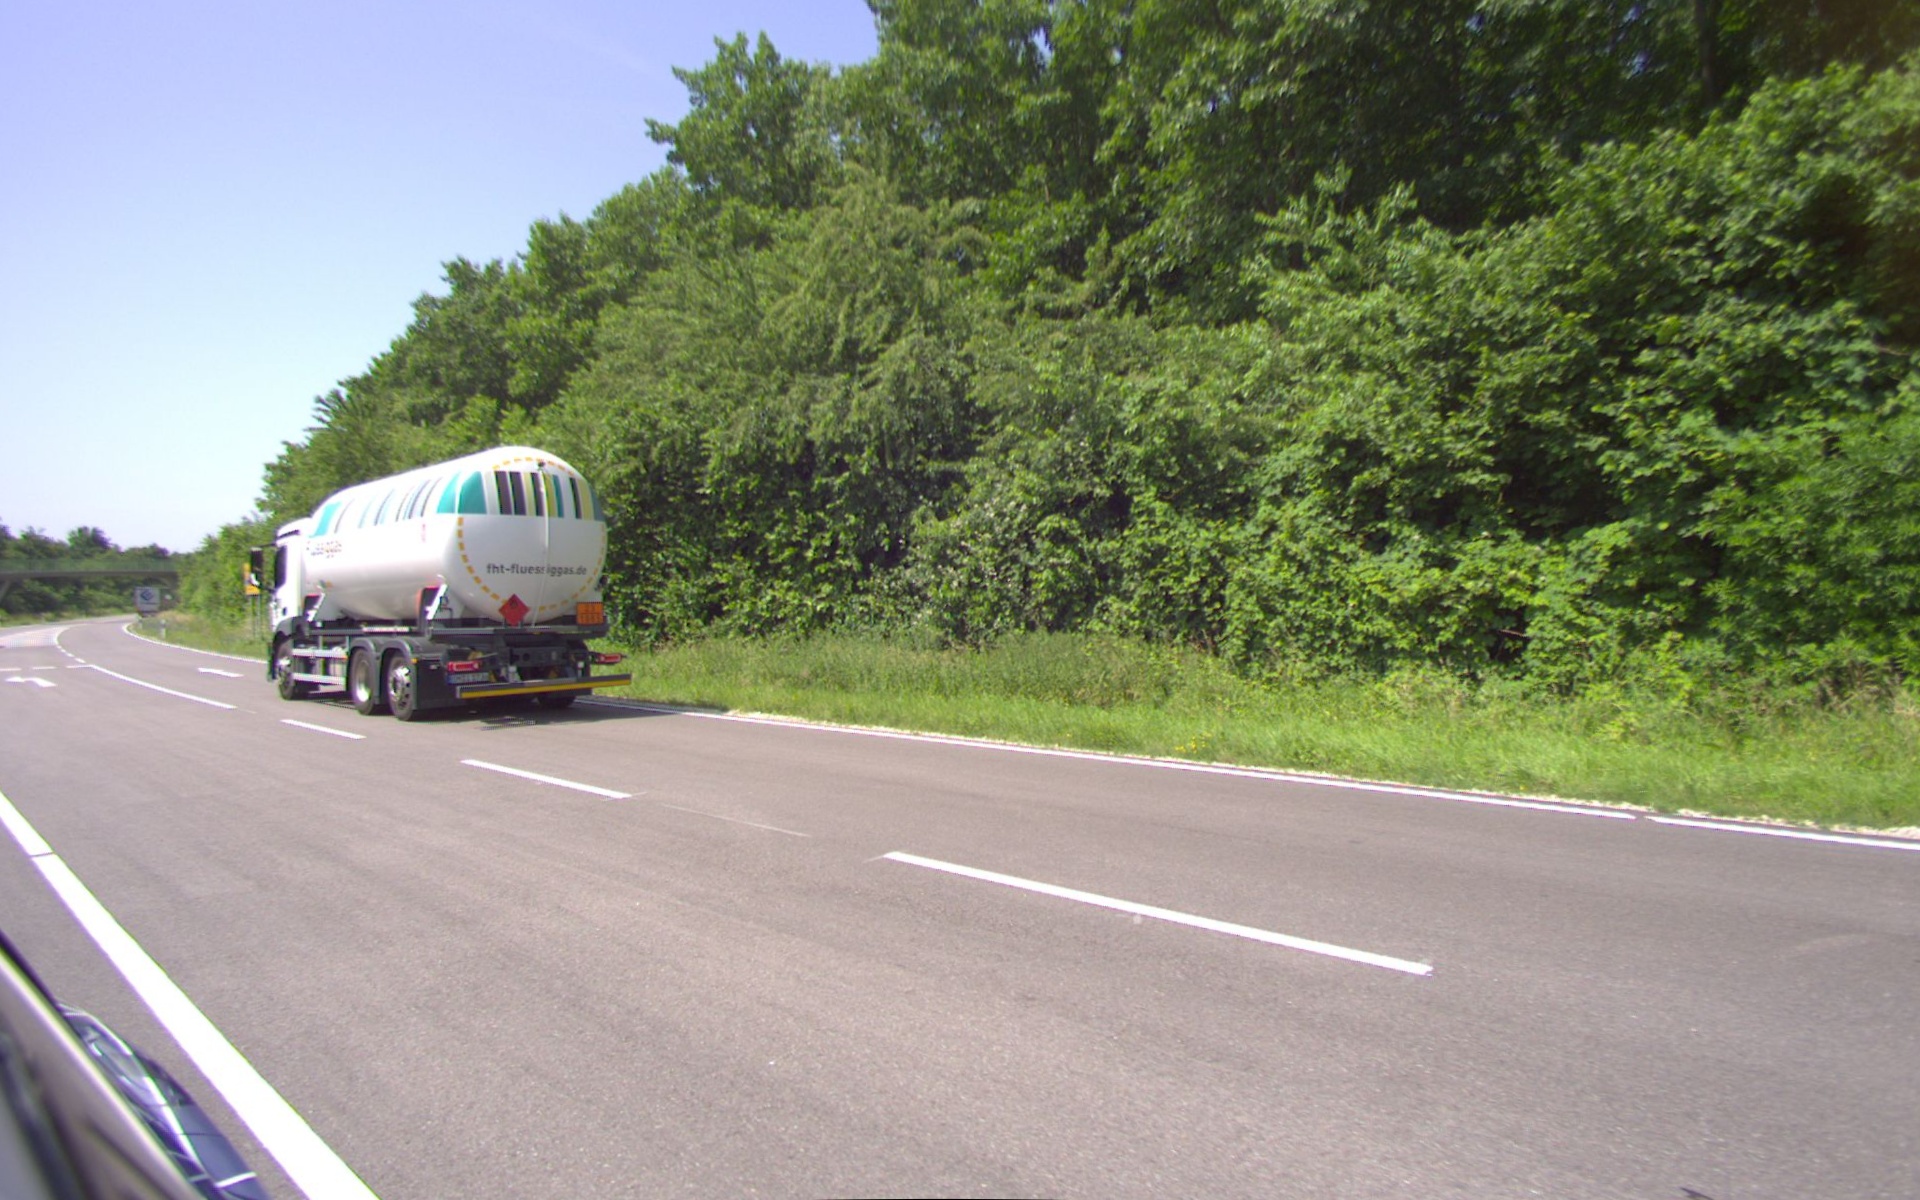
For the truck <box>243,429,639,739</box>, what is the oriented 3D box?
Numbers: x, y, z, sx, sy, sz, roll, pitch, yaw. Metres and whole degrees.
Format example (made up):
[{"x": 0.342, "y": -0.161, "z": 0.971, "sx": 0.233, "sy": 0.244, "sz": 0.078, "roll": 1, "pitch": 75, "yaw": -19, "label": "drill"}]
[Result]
[{"x": -8.593, "y": -0.141, "z": 16.006, "sx": 8.793, "sy": 3.698, "sz": 2.599, "roll": -1, "pitch": 0, "yaw": 42, "label": "truck"}]

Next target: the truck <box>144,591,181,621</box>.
[{"x": -114.865, "y": 0.805, "z": 145.875, "sx": 2.759, "sy": 4.126, "sz": 11.096, "roll": -1, "pitch": 0, "yaw": -31, "label": "truck"}]

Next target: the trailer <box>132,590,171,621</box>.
[{"x": -110.224, "y": 0.751, "z": 138.084, "sx": 2.789, "sy": 4.126, "sz": 9.028, "roll": -1, "pitch": 0, "yaw": -31, "label": "trailer"}]
